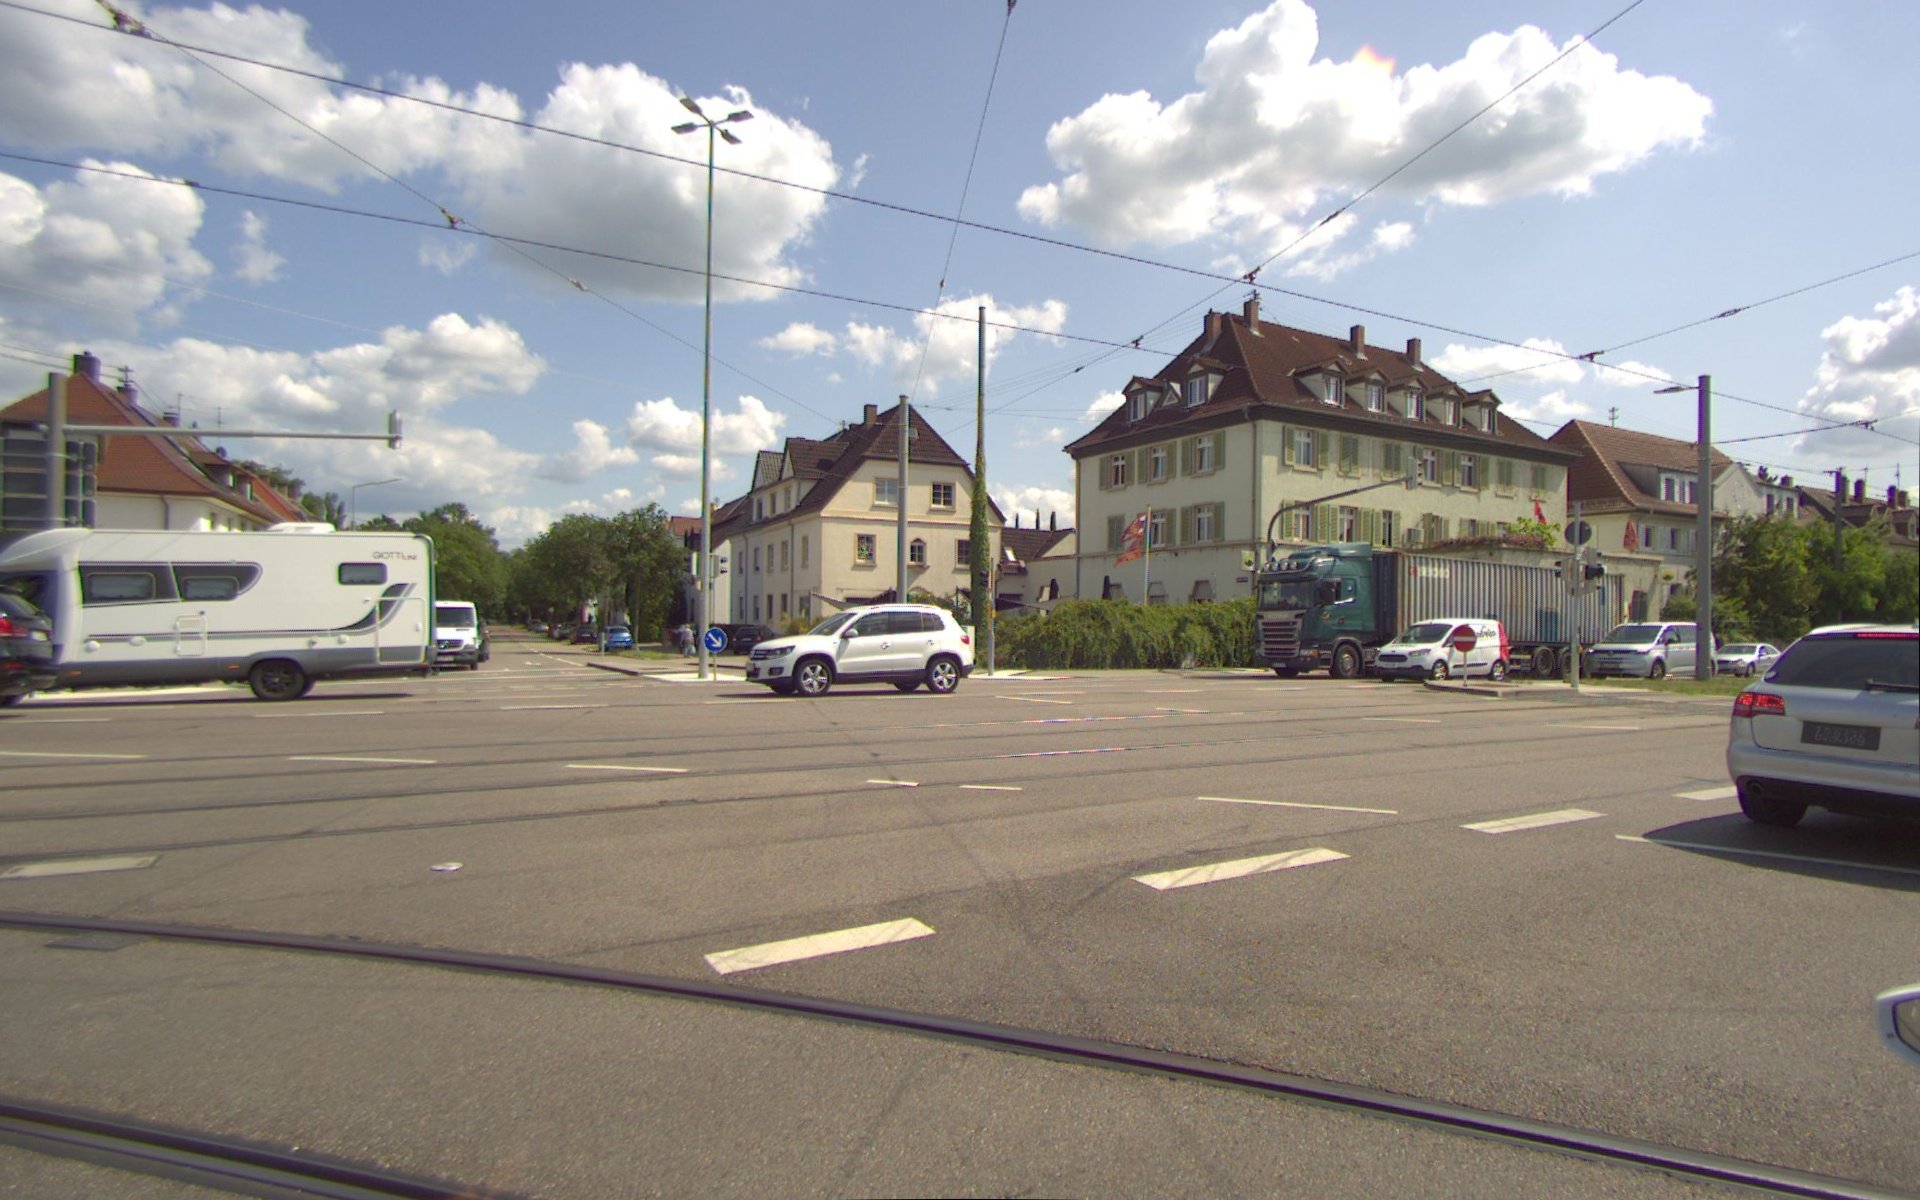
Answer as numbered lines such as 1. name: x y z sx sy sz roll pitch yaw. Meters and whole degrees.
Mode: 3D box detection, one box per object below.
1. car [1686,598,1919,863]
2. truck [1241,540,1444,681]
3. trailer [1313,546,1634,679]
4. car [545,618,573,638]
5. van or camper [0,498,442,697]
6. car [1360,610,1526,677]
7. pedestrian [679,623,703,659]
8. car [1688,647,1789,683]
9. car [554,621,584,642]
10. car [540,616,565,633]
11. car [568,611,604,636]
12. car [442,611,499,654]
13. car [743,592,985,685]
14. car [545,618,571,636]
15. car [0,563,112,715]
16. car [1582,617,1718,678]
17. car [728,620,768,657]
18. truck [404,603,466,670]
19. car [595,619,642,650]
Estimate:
1. car: 7.343 0.827 7.170 4.668 1.491 1.785 2 0 -31
2. truck: 11.448 0.379 30.055 5.594 3.871 2.590 1 -3 -27
3. trailer: 17.238 0.516 33.160 12.674 3.871 2.589 1 -3 -28
4. car: -37.621 2.629 94.233 1.976 1.617 3.970 2 0 -28
5. van or camper: -13.096 0.048 16.949 7.659 2.968 2.315 2 -2 -29
6. car: 13.001 1.194 27.013 4.416 1.658 1.787 2 -2 -28
7. pedestrian: -13.157 2.000 49.115 1.022 1.670 0.919 2 0 -21
8. car: 32.623 2.714 42.071 4.417 1.405 1.787 2 -2 -29
9. car: -34.477 2.733 88.577 1.976 1.617 3.970 2 0 -28
10. car: -43.844 2.602 107.970 1.976 1.617 3.970 2 0 -28
11. car: -27.828 1.742 74.647 1.976 1.617 3.970 2 0 -28
12. car: -20.318 1.320 41.698 1.975 1.573 4.149 3 -1 -27
13. car: -1.786 0.789 18.944 4.128 1.572 1.985 3 -5 -30
14. car: -40.901 2.782 102.272 1.976 1.617 3.970 2 0 -28
15. car: -13.519 0.452 11.972 4.816 1.799 1.986 2 -2 -28
16. car: 22.005 1.534 32.004 4.658 1.839 1.786 3 -2 -30
17. car: -11.165 1.984 53.201 1.900 1.690 4.279 2 0 -11
18. truck: -17.994 1.191 34.616 1.668 1.947 6.162 2 0 -26
19. car: -20.570 2.058 60.449 1.976 1.617 3.970 2 0 -28
